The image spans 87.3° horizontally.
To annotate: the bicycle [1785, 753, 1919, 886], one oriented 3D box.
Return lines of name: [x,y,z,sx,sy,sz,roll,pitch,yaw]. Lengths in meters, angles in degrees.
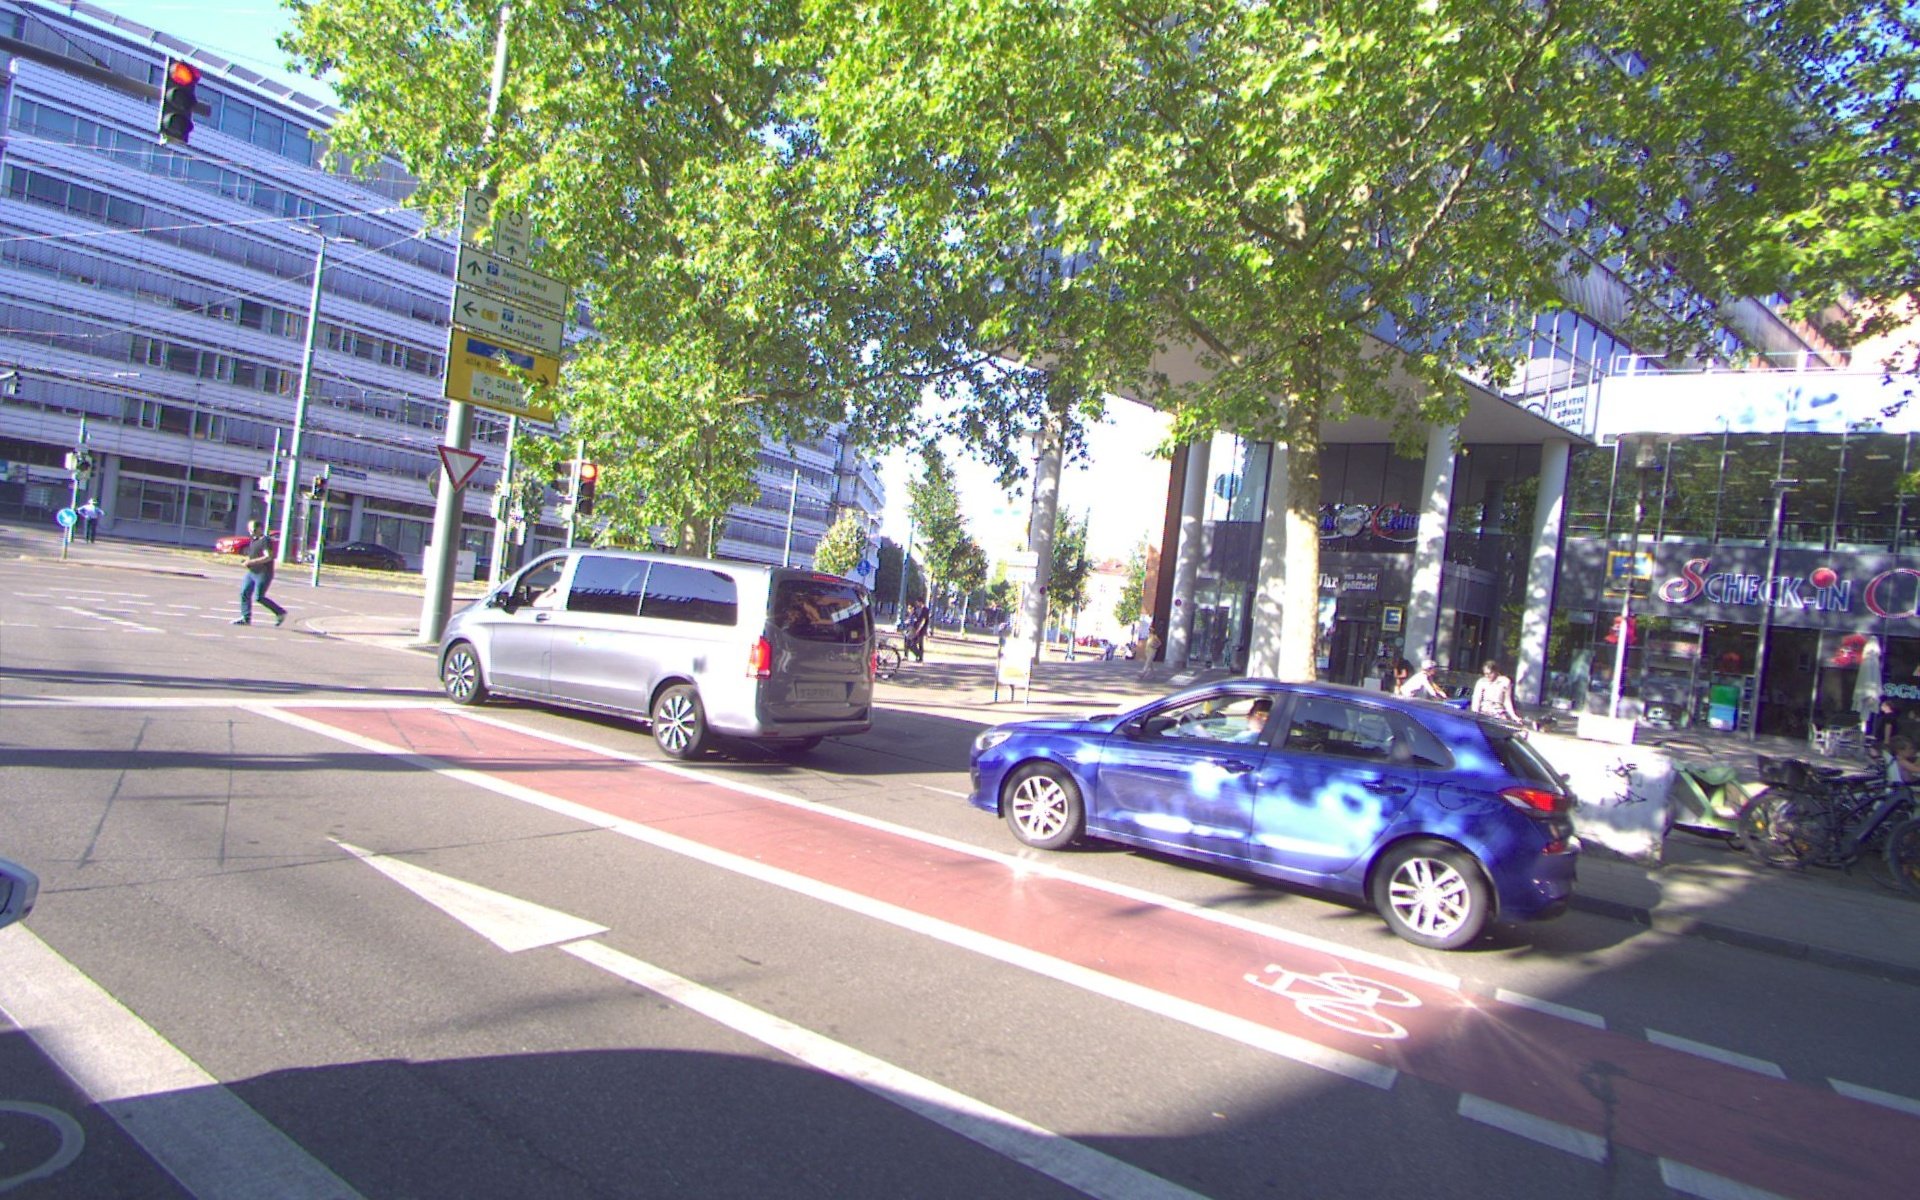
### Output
bicycle: [9.673,2.283,10.226,0.591,1.130,1.812,6,0,-30]

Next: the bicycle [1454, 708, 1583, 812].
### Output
bicycle: [7.807,2.212,14.085,1.452,1.174,0.421,6,0,32]

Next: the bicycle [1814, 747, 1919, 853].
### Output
bicycle: [12.220,2.638,13.155,1.450,1.174,0.421,7,0,23]

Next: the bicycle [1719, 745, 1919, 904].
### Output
bicycle: [8.379,2.092,9.458,0.591,1.130,1.812,6,0,-30]

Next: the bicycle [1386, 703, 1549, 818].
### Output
bicycle: [6.031,1.875,11.994,1.548,1.070,0.627,6,0,38]

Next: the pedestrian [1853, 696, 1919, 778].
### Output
pedestrian: [22.965,3.392,24.945,0.990,1.866,0.844,6,0,-33]

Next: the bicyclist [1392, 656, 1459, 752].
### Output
bicyclist: [8.516,1.902,18.402,0.560,1.636,0.811,6,0,-43]

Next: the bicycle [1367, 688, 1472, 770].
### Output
bicycle: [6.981,1.951,15.323,0.393,1.038,1.305,6,0,-42]

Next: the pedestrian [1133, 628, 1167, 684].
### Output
pedestrian: [5.997,1.769,31.677,0.694,1.661,0.775,7,0,27]

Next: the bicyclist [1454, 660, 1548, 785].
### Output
bicyclist: [8.386,1.896,15.612,0.744,1.789,0.845,6,0,-30]

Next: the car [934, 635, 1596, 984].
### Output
car: [2.095,1.261,7.390,4.146,1.482,1.767,6,0,30]

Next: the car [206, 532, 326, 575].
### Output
car: [-32.733,-2.162,47.548,1.768,1.409,4.242,6,-1,36]

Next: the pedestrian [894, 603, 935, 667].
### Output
pedestrian: [-1.276,1.002,28.644,0.851,1.701,0.849,7,-1,6]

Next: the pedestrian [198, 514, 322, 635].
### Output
pedestrian: [-11.940,-0.422,17.182,1.023,1.843,1.212,6,-2,26]

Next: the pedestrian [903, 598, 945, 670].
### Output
pedestrian: [-0.967,0.929,27.570,0.851,1.841,0.849,7,-1,4]

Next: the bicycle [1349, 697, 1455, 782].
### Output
bicycle: [6.570,2.061,14.987,0.393,1.038,1.305,6,0,-42]

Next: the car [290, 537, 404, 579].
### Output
car: [-29.158,-1.995,47.974,1.768,1.409,4.241,6,-1,36]

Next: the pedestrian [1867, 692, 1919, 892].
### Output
pedestrian: [9.270,1.835,9.544,0.800,1.808,0.652,6,0,-32]

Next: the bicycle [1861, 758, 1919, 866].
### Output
bicycle: [11.639,2.565,11.785,1.450,1.174,0.421,7,0,23]

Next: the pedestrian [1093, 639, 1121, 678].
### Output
pedestrian: [5.957,2.362,40.727,0.763,1.460,0.705,7,0,34]

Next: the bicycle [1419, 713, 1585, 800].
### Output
bicycle: [8.343,2.394,15.598,0.661,0.945,2.167,7,-1,-31]

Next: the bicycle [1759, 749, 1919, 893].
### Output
bicycle: [9.105,2.190,9.771,0.591,1.130,1.934,6,0,-30]

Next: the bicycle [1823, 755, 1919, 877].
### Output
bicycle: [10.337,2.352,10.515,0.602,1.130,1.812,6,0,-30]

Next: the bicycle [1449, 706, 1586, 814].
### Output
bicycle: [7.400,2.102,13.394,1.451,1.174,0.421,6,0,30]

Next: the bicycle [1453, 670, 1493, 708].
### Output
bicycle: [17.282,3.005,33.868,0.709,1.142,1.912,7,-1,39]

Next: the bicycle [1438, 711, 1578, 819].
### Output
bicycle: [6.975,2.077,12.849,1.451,1.095,0.421,6,0,30]

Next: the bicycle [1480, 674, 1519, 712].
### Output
bicycle: [17.911,3.091,33.352,0.709,1.142,1.912,7,-1,39]

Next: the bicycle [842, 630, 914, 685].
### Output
bicycle: [-1.766,1.231,21.647,1.451,0.995,0.450,6,0,30]

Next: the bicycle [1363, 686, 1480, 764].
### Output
bicycle: [8.437,2.273,18.445,0.564,1.140,1.757,6,0,-43]

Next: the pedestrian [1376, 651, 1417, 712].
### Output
pedestrian: [12.786,2.387,29.461,0.851,1.661,0.967,7,0,28]

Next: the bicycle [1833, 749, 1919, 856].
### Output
bicycle: [11.946,2.577,12.530,1.450,1.174,0.421,7,0,23]

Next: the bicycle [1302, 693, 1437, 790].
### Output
bicycle: [5.510,1.875,13.569,1.545,1.038,0.461,6,0,29]

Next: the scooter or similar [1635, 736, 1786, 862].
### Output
scooter or similar: [8.196,2.136,11.055,0.899,1.154,1.260,5,-4,18]

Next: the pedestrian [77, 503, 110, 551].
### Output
pedestrian: [-33.183,-2.791,38.530,0.549,1.701,0.720,6,-1,38]

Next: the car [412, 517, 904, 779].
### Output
car: [-3.334,0.402,10.741,5.052,1.988,1.998,6,-2,32]
